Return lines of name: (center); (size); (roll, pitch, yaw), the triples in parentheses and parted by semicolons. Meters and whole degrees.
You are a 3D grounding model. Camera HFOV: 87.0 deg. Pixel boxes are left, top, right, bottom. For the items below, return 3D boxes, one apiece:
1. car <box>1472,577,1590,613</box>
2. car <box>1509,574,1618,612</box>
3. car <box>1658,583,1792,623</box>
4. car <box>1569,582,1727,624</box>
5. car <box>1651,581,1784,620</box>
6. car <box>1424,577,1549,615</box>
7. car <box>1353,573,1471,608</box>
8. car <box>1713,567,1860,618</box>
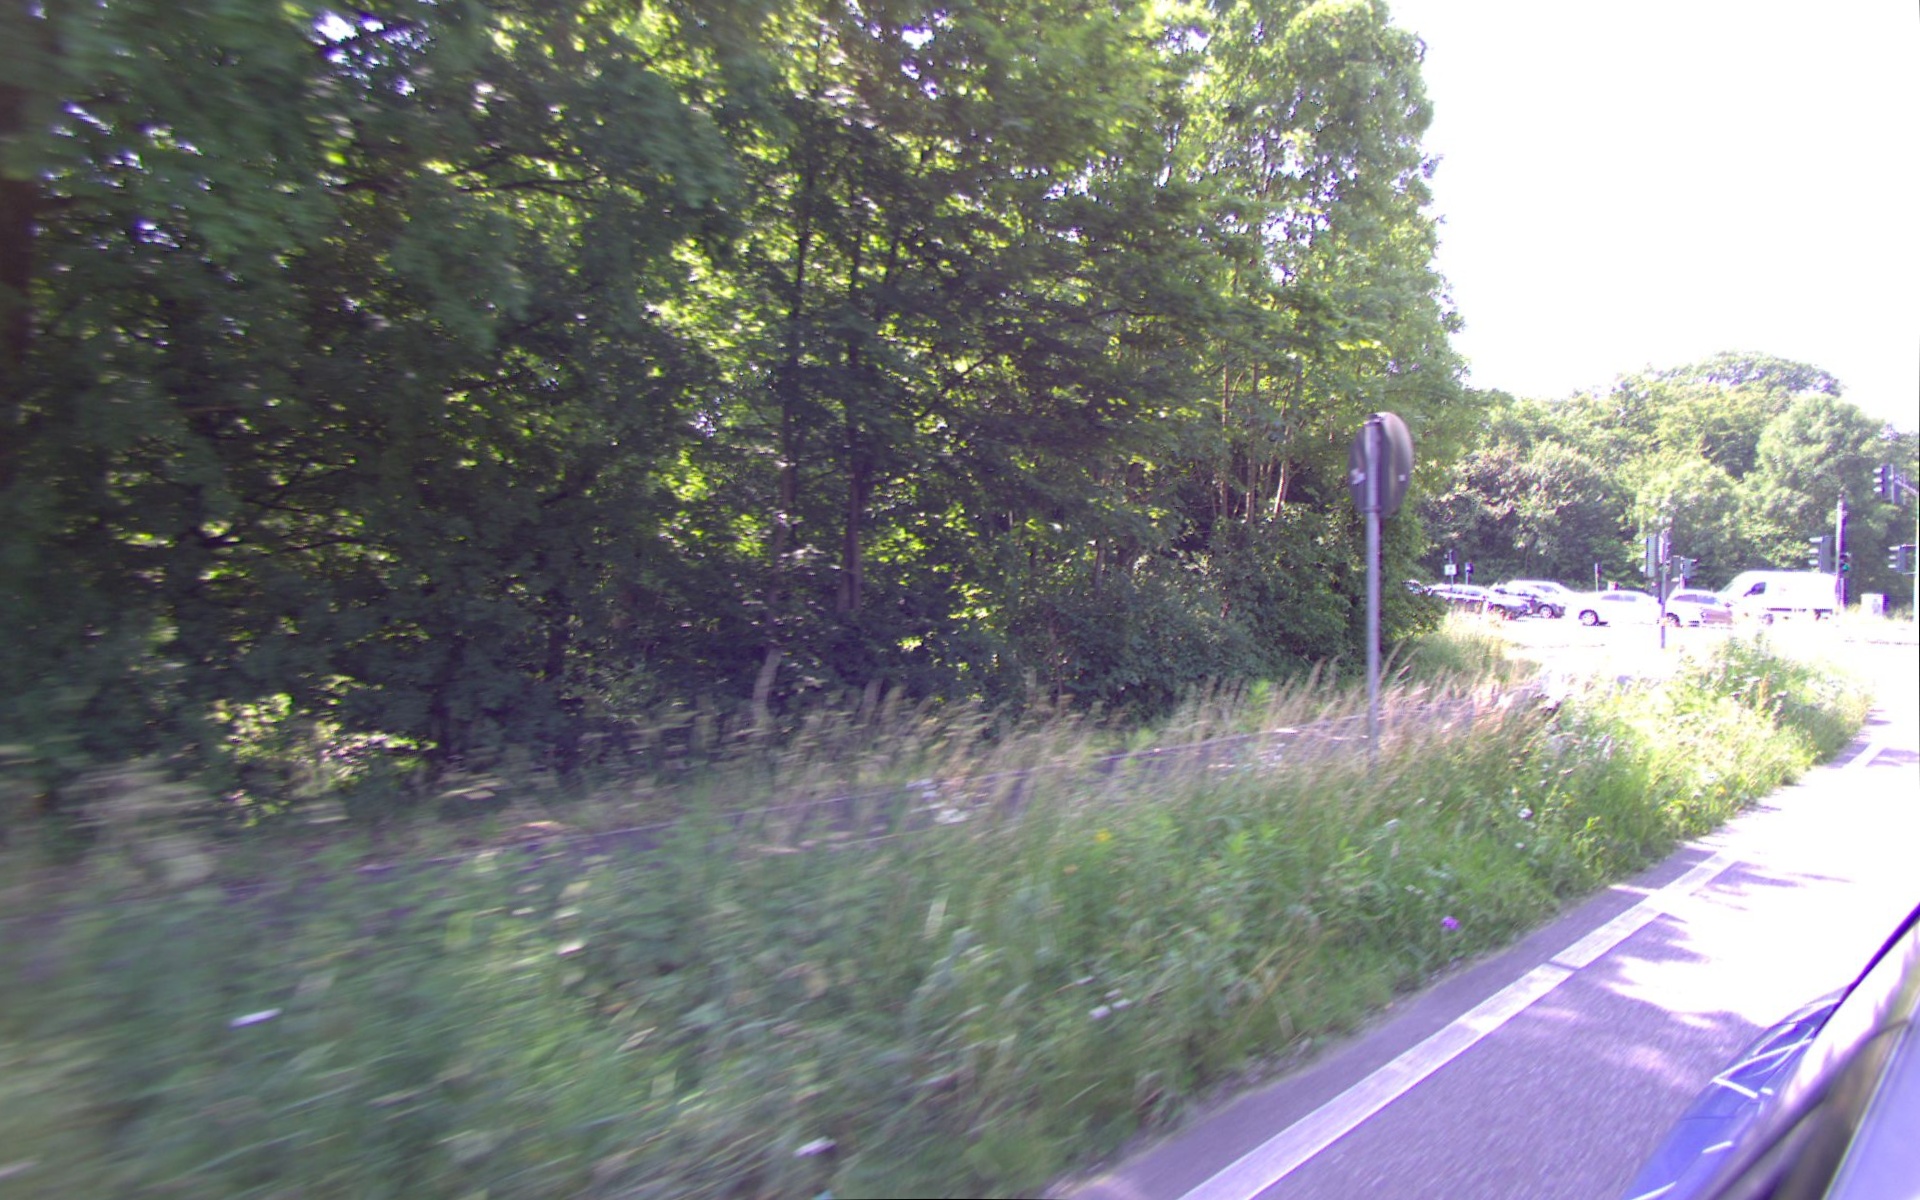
car: (27.193, -0.276, 48.291); (2.085, 1.554, 4.430); (-1, 3, -39)
car: (29.730, -0.377, 49.942); (1.964, 1.679, 4.182); (0, 2, -39)
car: (31.662, 0.091, 41.964); (1.961, 1.464, 4.099); (0, 2, -41)
car: (27.843, 0.061, 41.083); (1.984, 1.517, 4.945); (-1, 2, -38)
car: (33.839, -0.006, 45.289); (1.965, 1.554, 4.428); (0, 2, -41)
car: (24.058, -0.228, 46.377); (2.074, 1.517, 4.628); (-1, 3, -39)
car: (23.187, -0.539, 52.134); (2.100, 1.552, 5.142); (-1, 3, -39)
car: (44.164, -0.397, 54.197); (5.955, 2.678, 1.973); (0, 0, 7)
